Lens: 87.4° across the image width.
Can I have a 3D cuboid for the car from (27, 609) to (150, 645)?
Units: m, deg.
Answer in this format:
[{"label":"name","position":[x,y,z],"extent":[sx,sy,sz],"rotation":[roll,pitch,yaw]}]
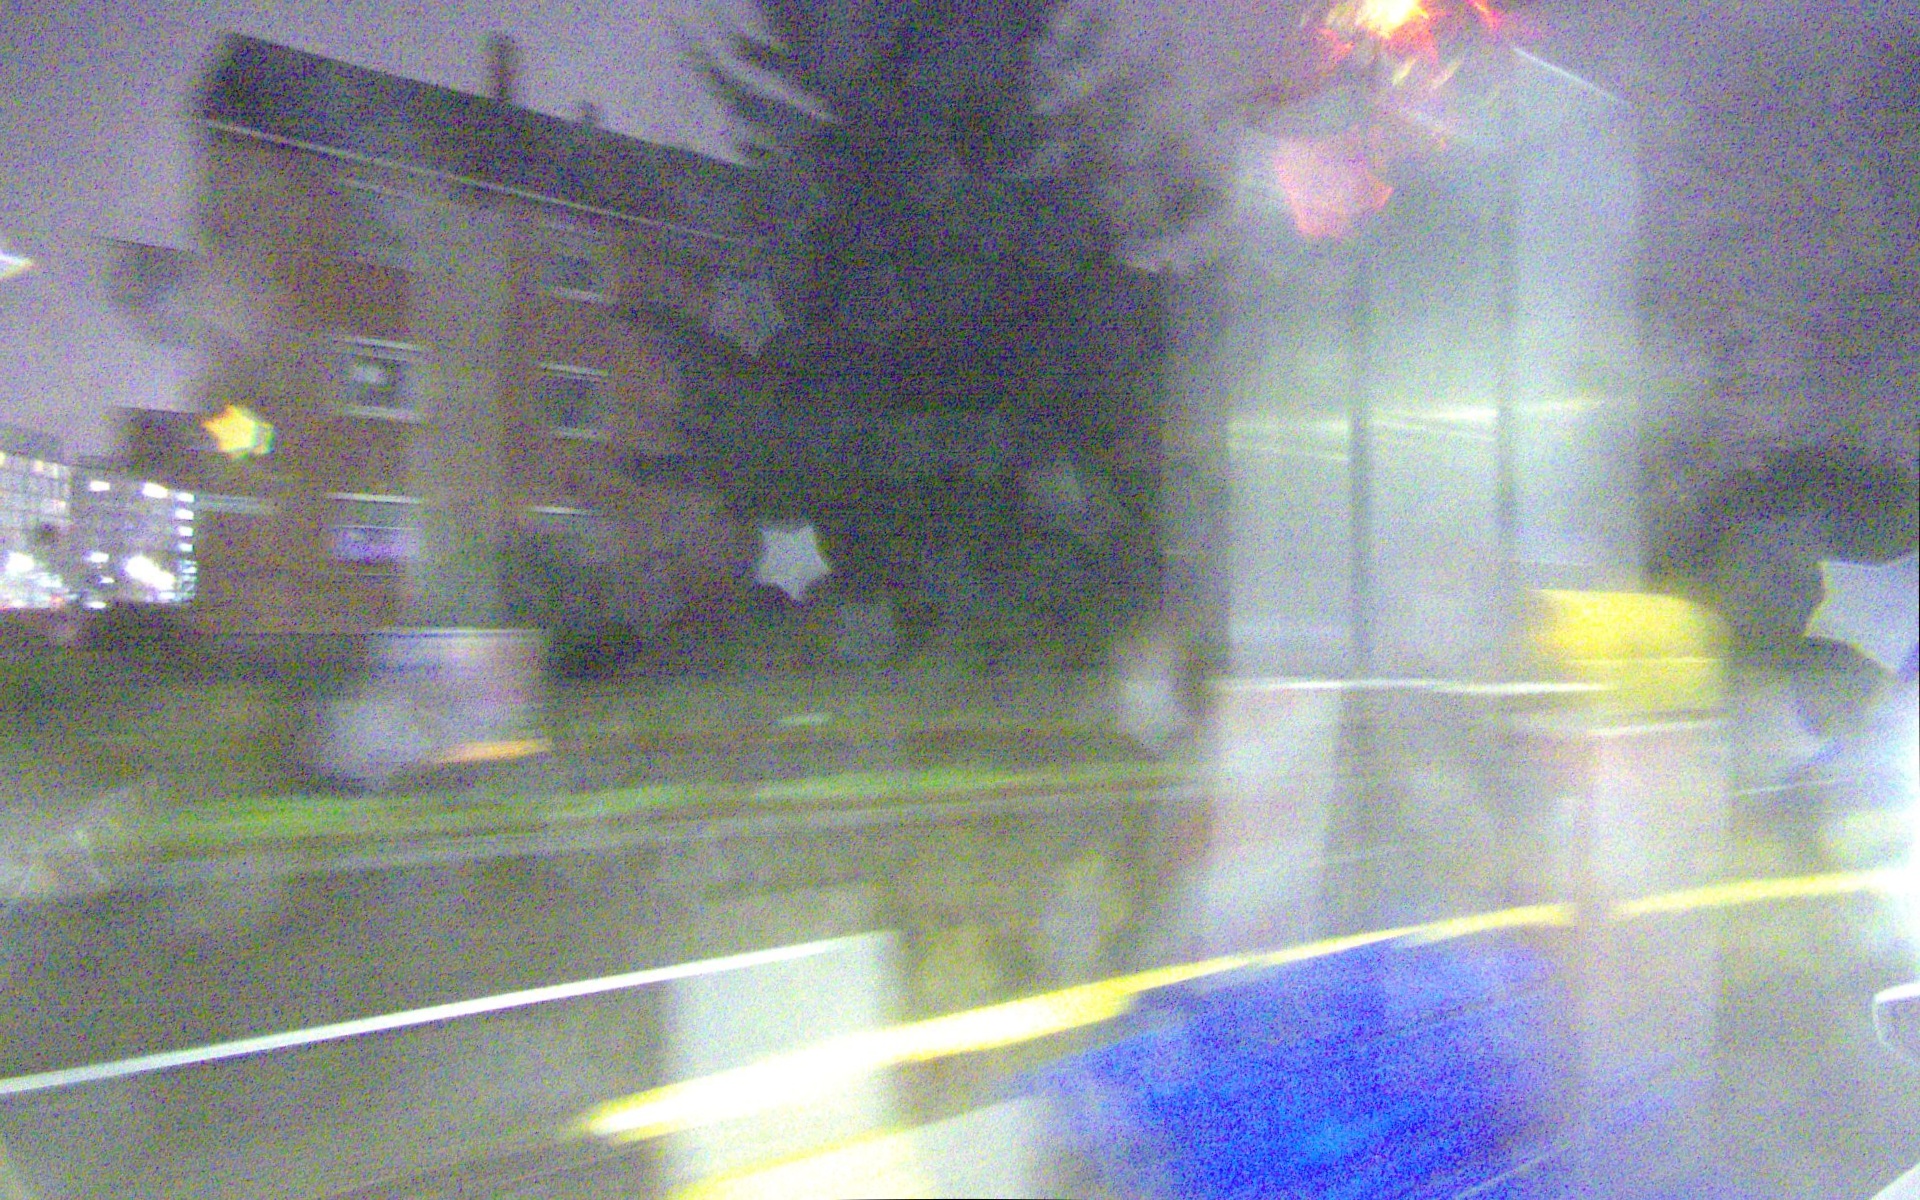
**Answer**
[{"label":"car","position":[-46.150,1.426,53.310],"extent":[4.361,1.642,1.993],"rotation":[4,-2,-17]}]
